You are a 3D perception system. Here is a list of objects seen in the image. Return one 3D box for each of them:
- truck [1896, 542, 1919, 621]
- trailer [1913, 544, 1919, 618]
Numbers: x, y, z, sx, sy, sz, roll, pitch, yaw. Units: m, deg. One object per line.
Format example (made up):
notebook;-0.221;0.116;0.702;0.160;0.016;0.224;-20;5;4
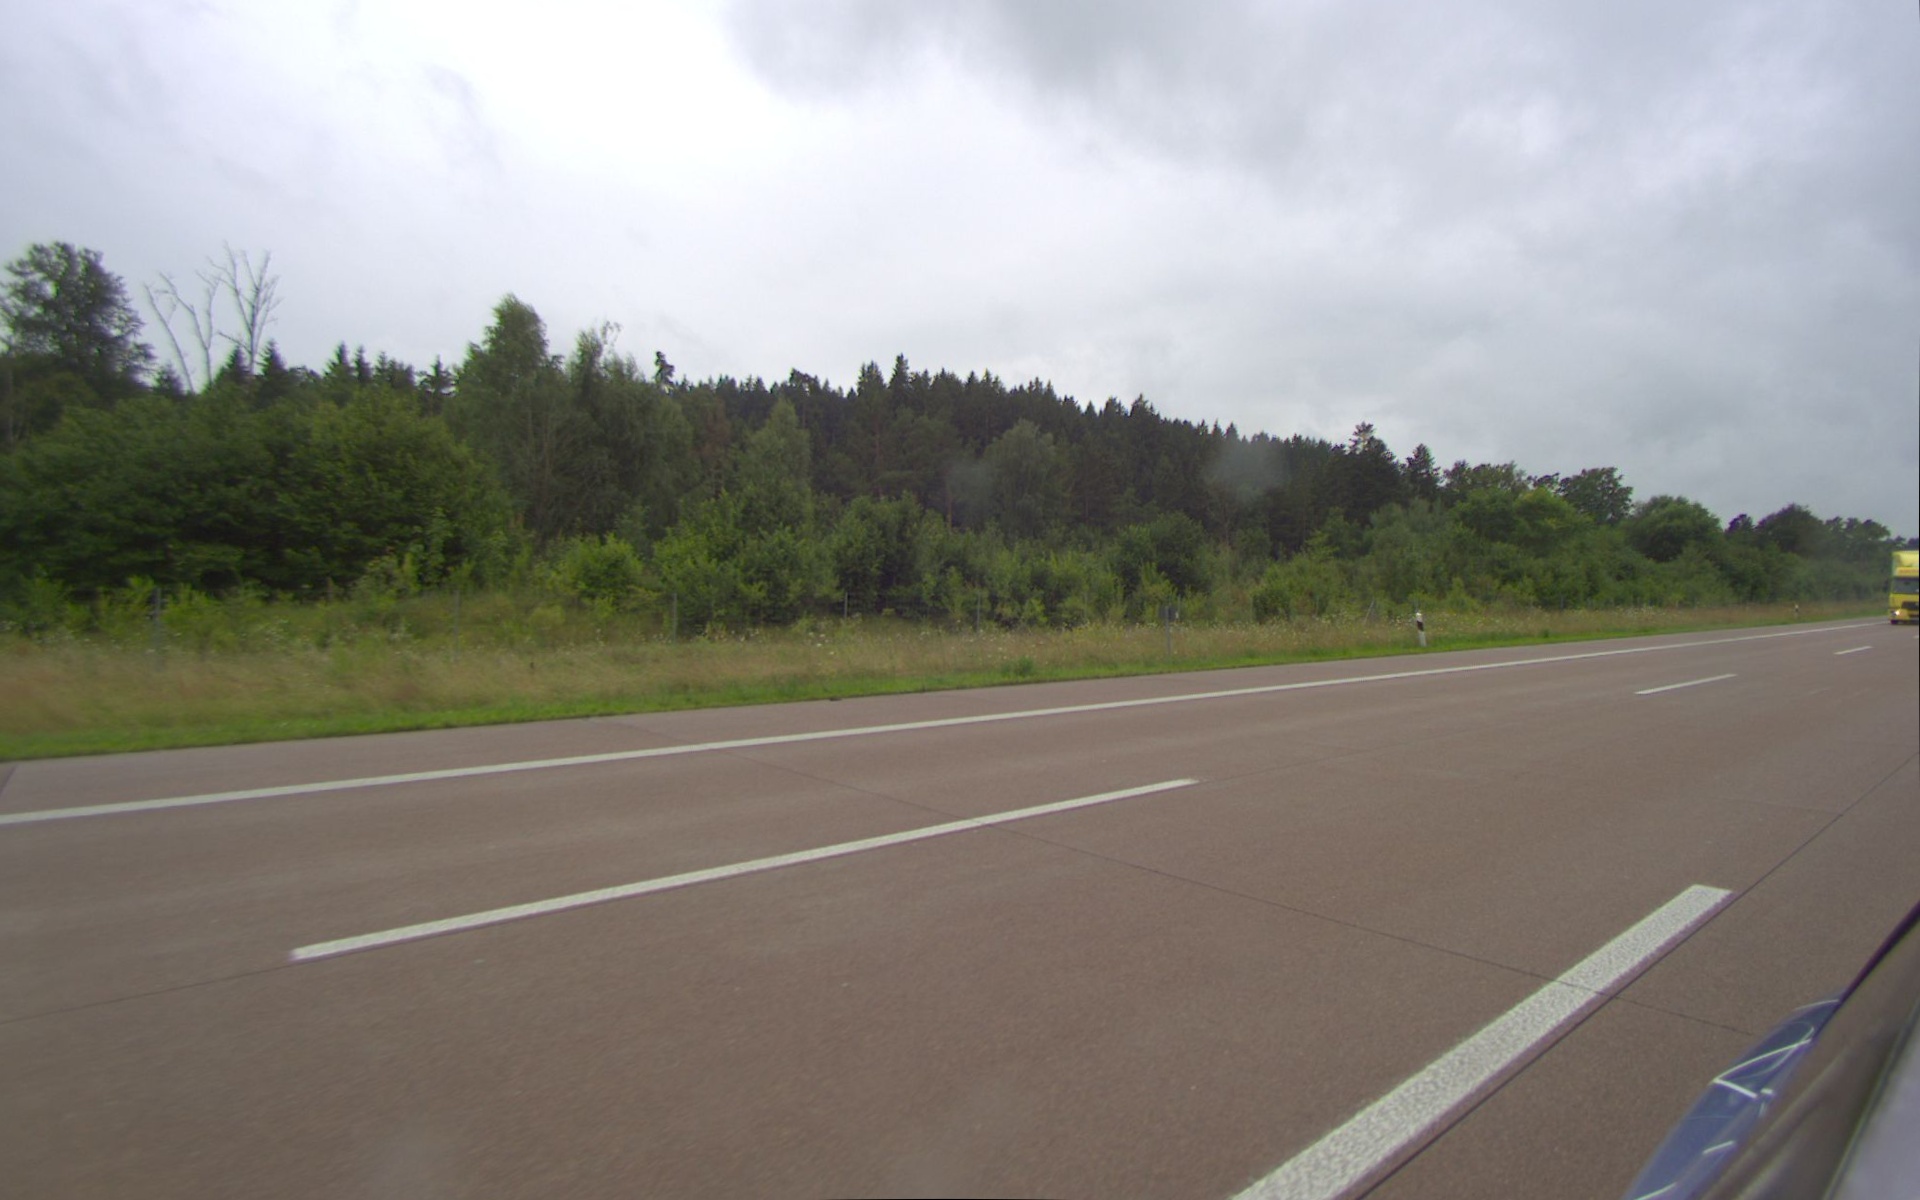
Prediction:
truck;54.434;-1.059;56.303;6.139;4.267;2.609;-1;1;-39
trailer;61.218;-1.228;61.883;13.829;4.281;2.571;-2;1;-39
